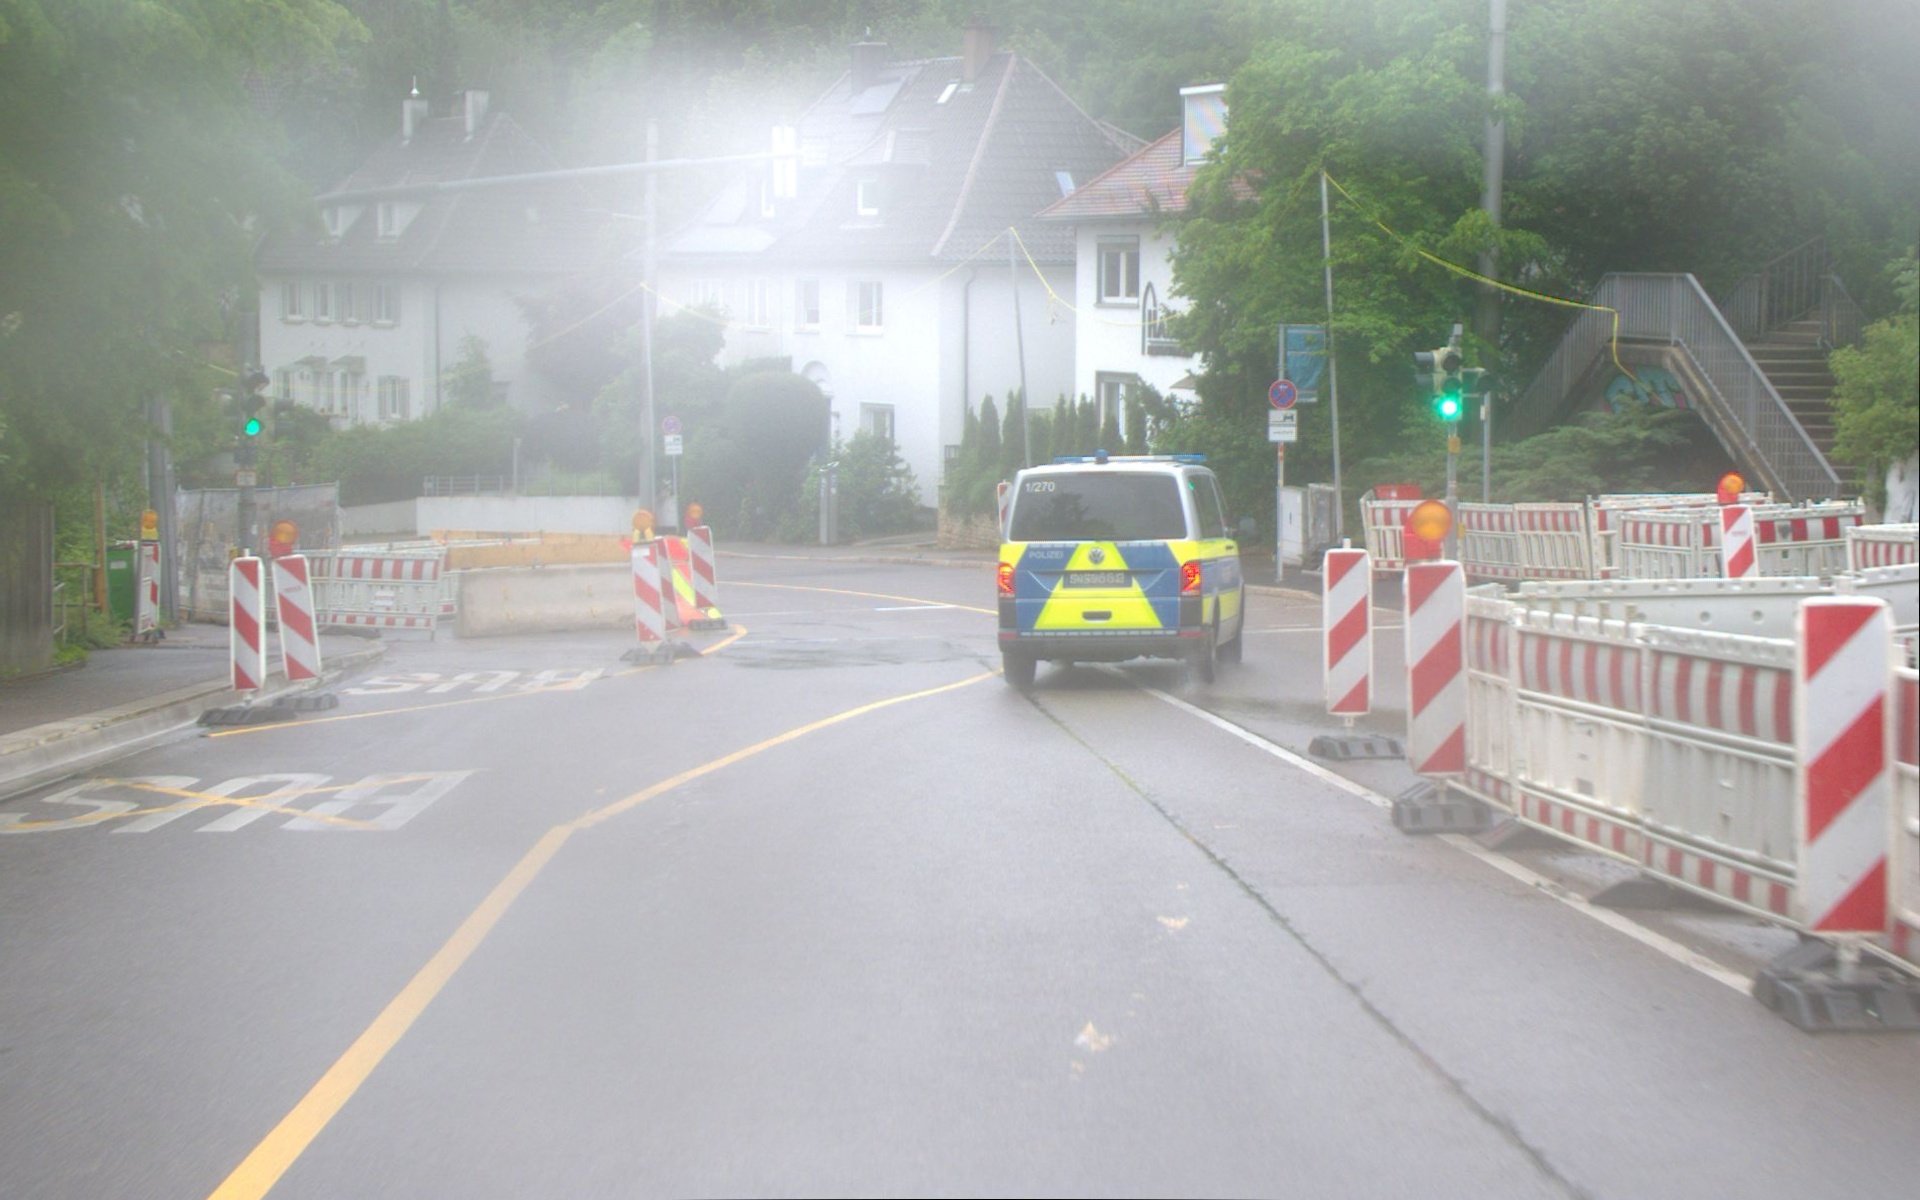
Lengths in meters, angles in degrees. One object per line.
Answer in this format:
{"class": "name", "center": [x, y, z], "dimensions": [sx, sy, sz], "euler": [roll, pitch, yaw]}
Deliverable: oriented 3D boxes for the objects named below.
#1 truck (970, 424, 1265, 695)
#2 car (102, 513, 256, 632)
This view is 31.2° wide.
{"class": "truck", "center": [1.526, -0.449, 31.225], "dimensions": [1.994, 2.006, 4.734], "euler": [0, 6, 11]}
{"class": "car", "center": [-14.151, -0.508, 62.125], "dimensions": [1.993, 2.007, 4.808], "euler": [-2, 1, -21]}
